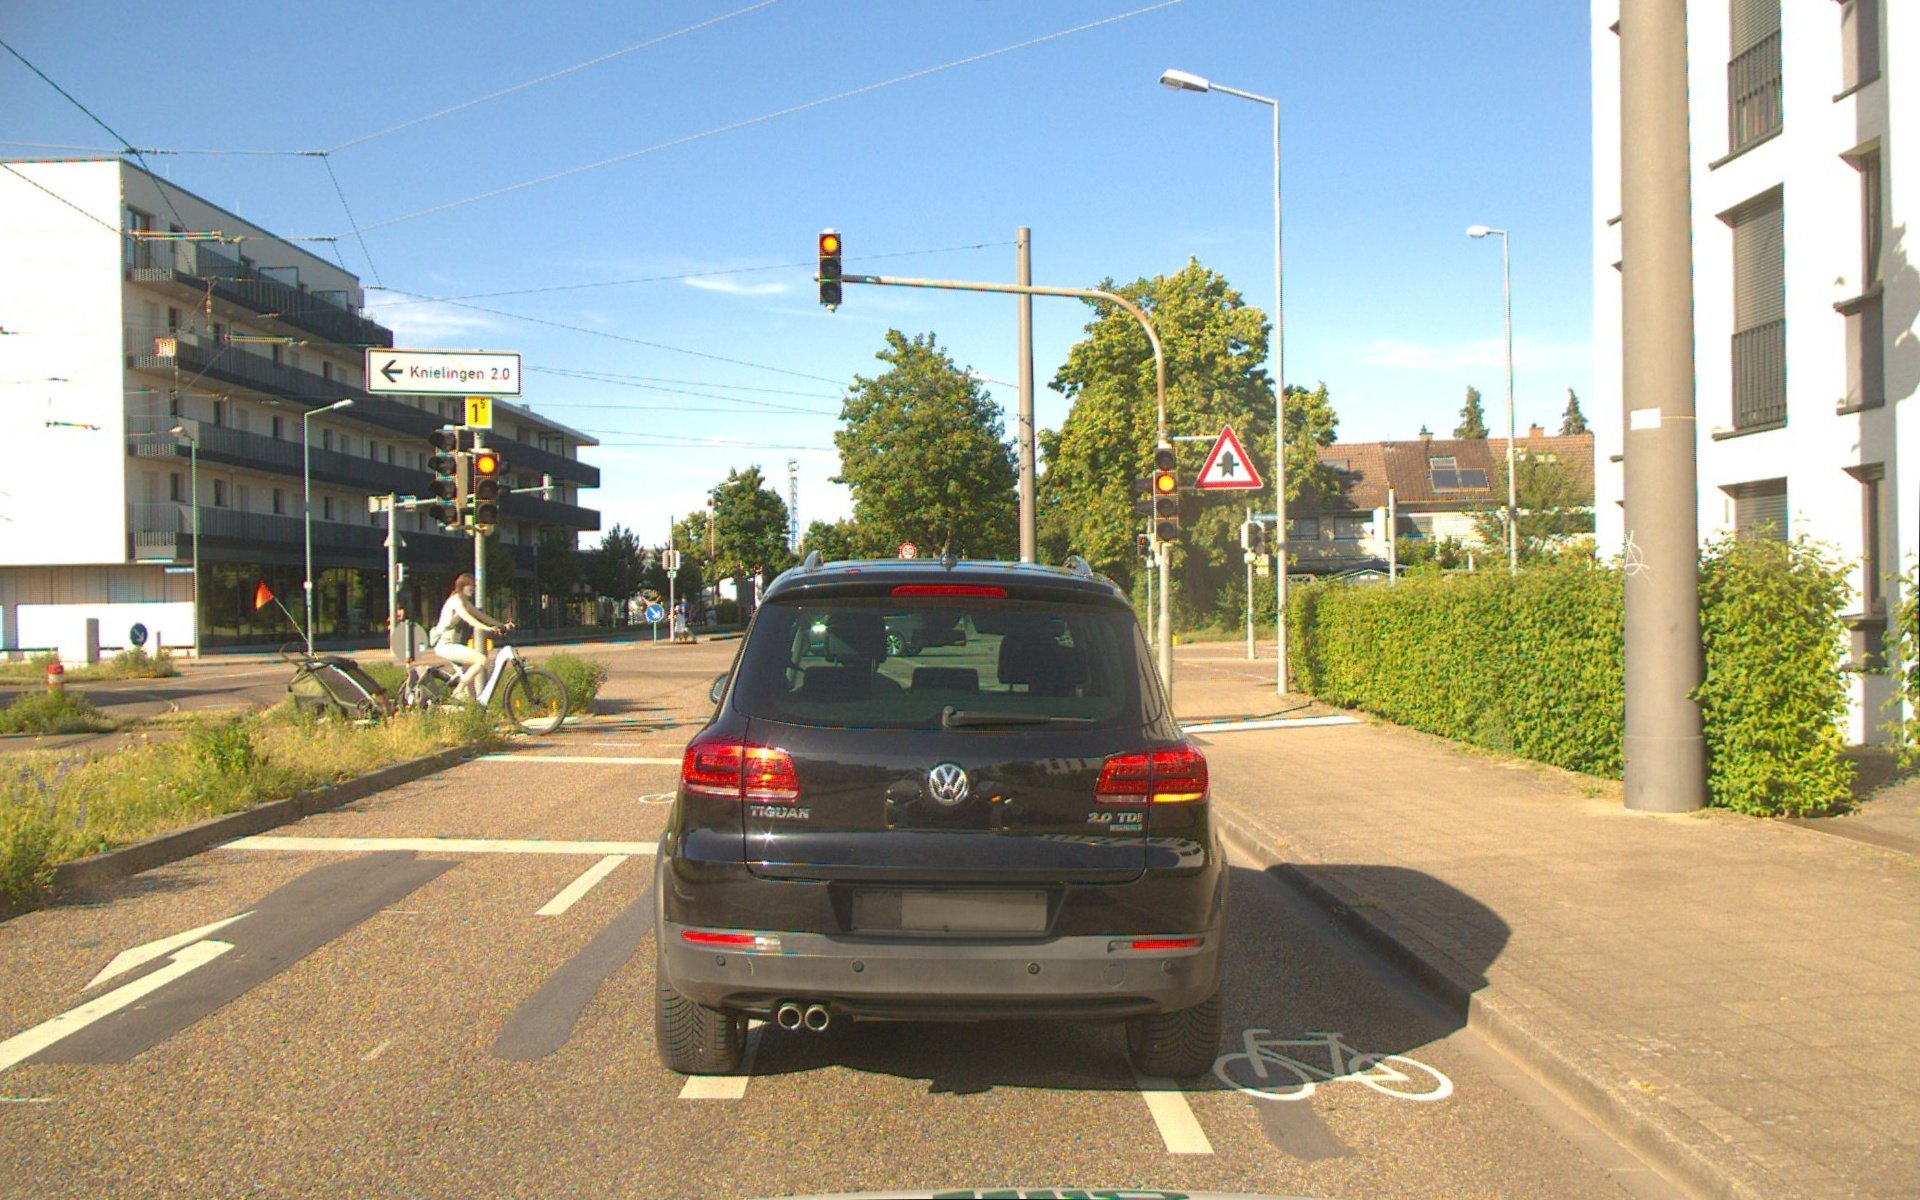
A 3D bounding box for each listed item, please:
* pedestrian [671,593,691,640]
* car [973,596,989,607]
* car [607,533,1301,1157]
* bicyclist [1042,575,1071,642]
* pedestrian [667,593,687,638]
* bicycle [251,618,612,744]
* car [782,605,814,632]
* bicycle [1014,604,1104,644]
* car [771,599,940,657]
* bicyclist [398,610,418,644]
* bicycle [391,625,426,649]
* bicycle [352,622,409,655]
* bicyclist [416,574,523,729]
[{"bbox_3d":[-10.103,0.586,59.884,0.590,1.668,0.529,0,0,4],"label":"pedestrian"},{"bbox_3d":[2.595,0.178,202.643,1.716,1.411,3.998,0,0,-2],"label":"car"},{"bbox_3d":[-0.079,0.656,6.476,1.867,1.671,3.998,0,0,-2],"label":"car"},{"bbox_3d":[2.686,0.225,45.962,0.786,1.838,0.684,0,0,3],"label":"bicyclist"},{"bbox_3d":[-10.147,0.543,59.318,0.590,1.592,0.529,0,0,4],"label":"pedestrian"},{"bbox_3d":[-5.761,0.877,18.227,3.609,1.195,0.999,2,0,-2],"label":"bicycle"},{"bbox_3d":[-10.619,1.197,108.628,1.621,1.668,4.001,0,0,1],"label":"car"},{"bbox_3d":[2.740,0.667,45.942,2.452,1.078,0.776,0,0,2],"label":"bicycle"},{"bbox_3d":[-2.841,0.742,45.497,4.403,1.530,2.001,0,0,3],"label":"car"},{"bbox_3d":[-20.698,1.005,61.982,0.464,1.245,0.713,0,0,3],"label":"bicyclist"},{"bbox_3d":[-20.693,1.389,62.068,0.485,0.863,2.079,0,0,3],"label":"bicycle"},{"bbox_3d":[-20.804,1.372,59.365,0.947,1.104,1.834,0,0,23],"label":"bicycle"},{"bbox_3d":[-5.401,0.549,18.266,0.891,1.658,0.976,0,0,-2],"label":"bicyclist"}]
